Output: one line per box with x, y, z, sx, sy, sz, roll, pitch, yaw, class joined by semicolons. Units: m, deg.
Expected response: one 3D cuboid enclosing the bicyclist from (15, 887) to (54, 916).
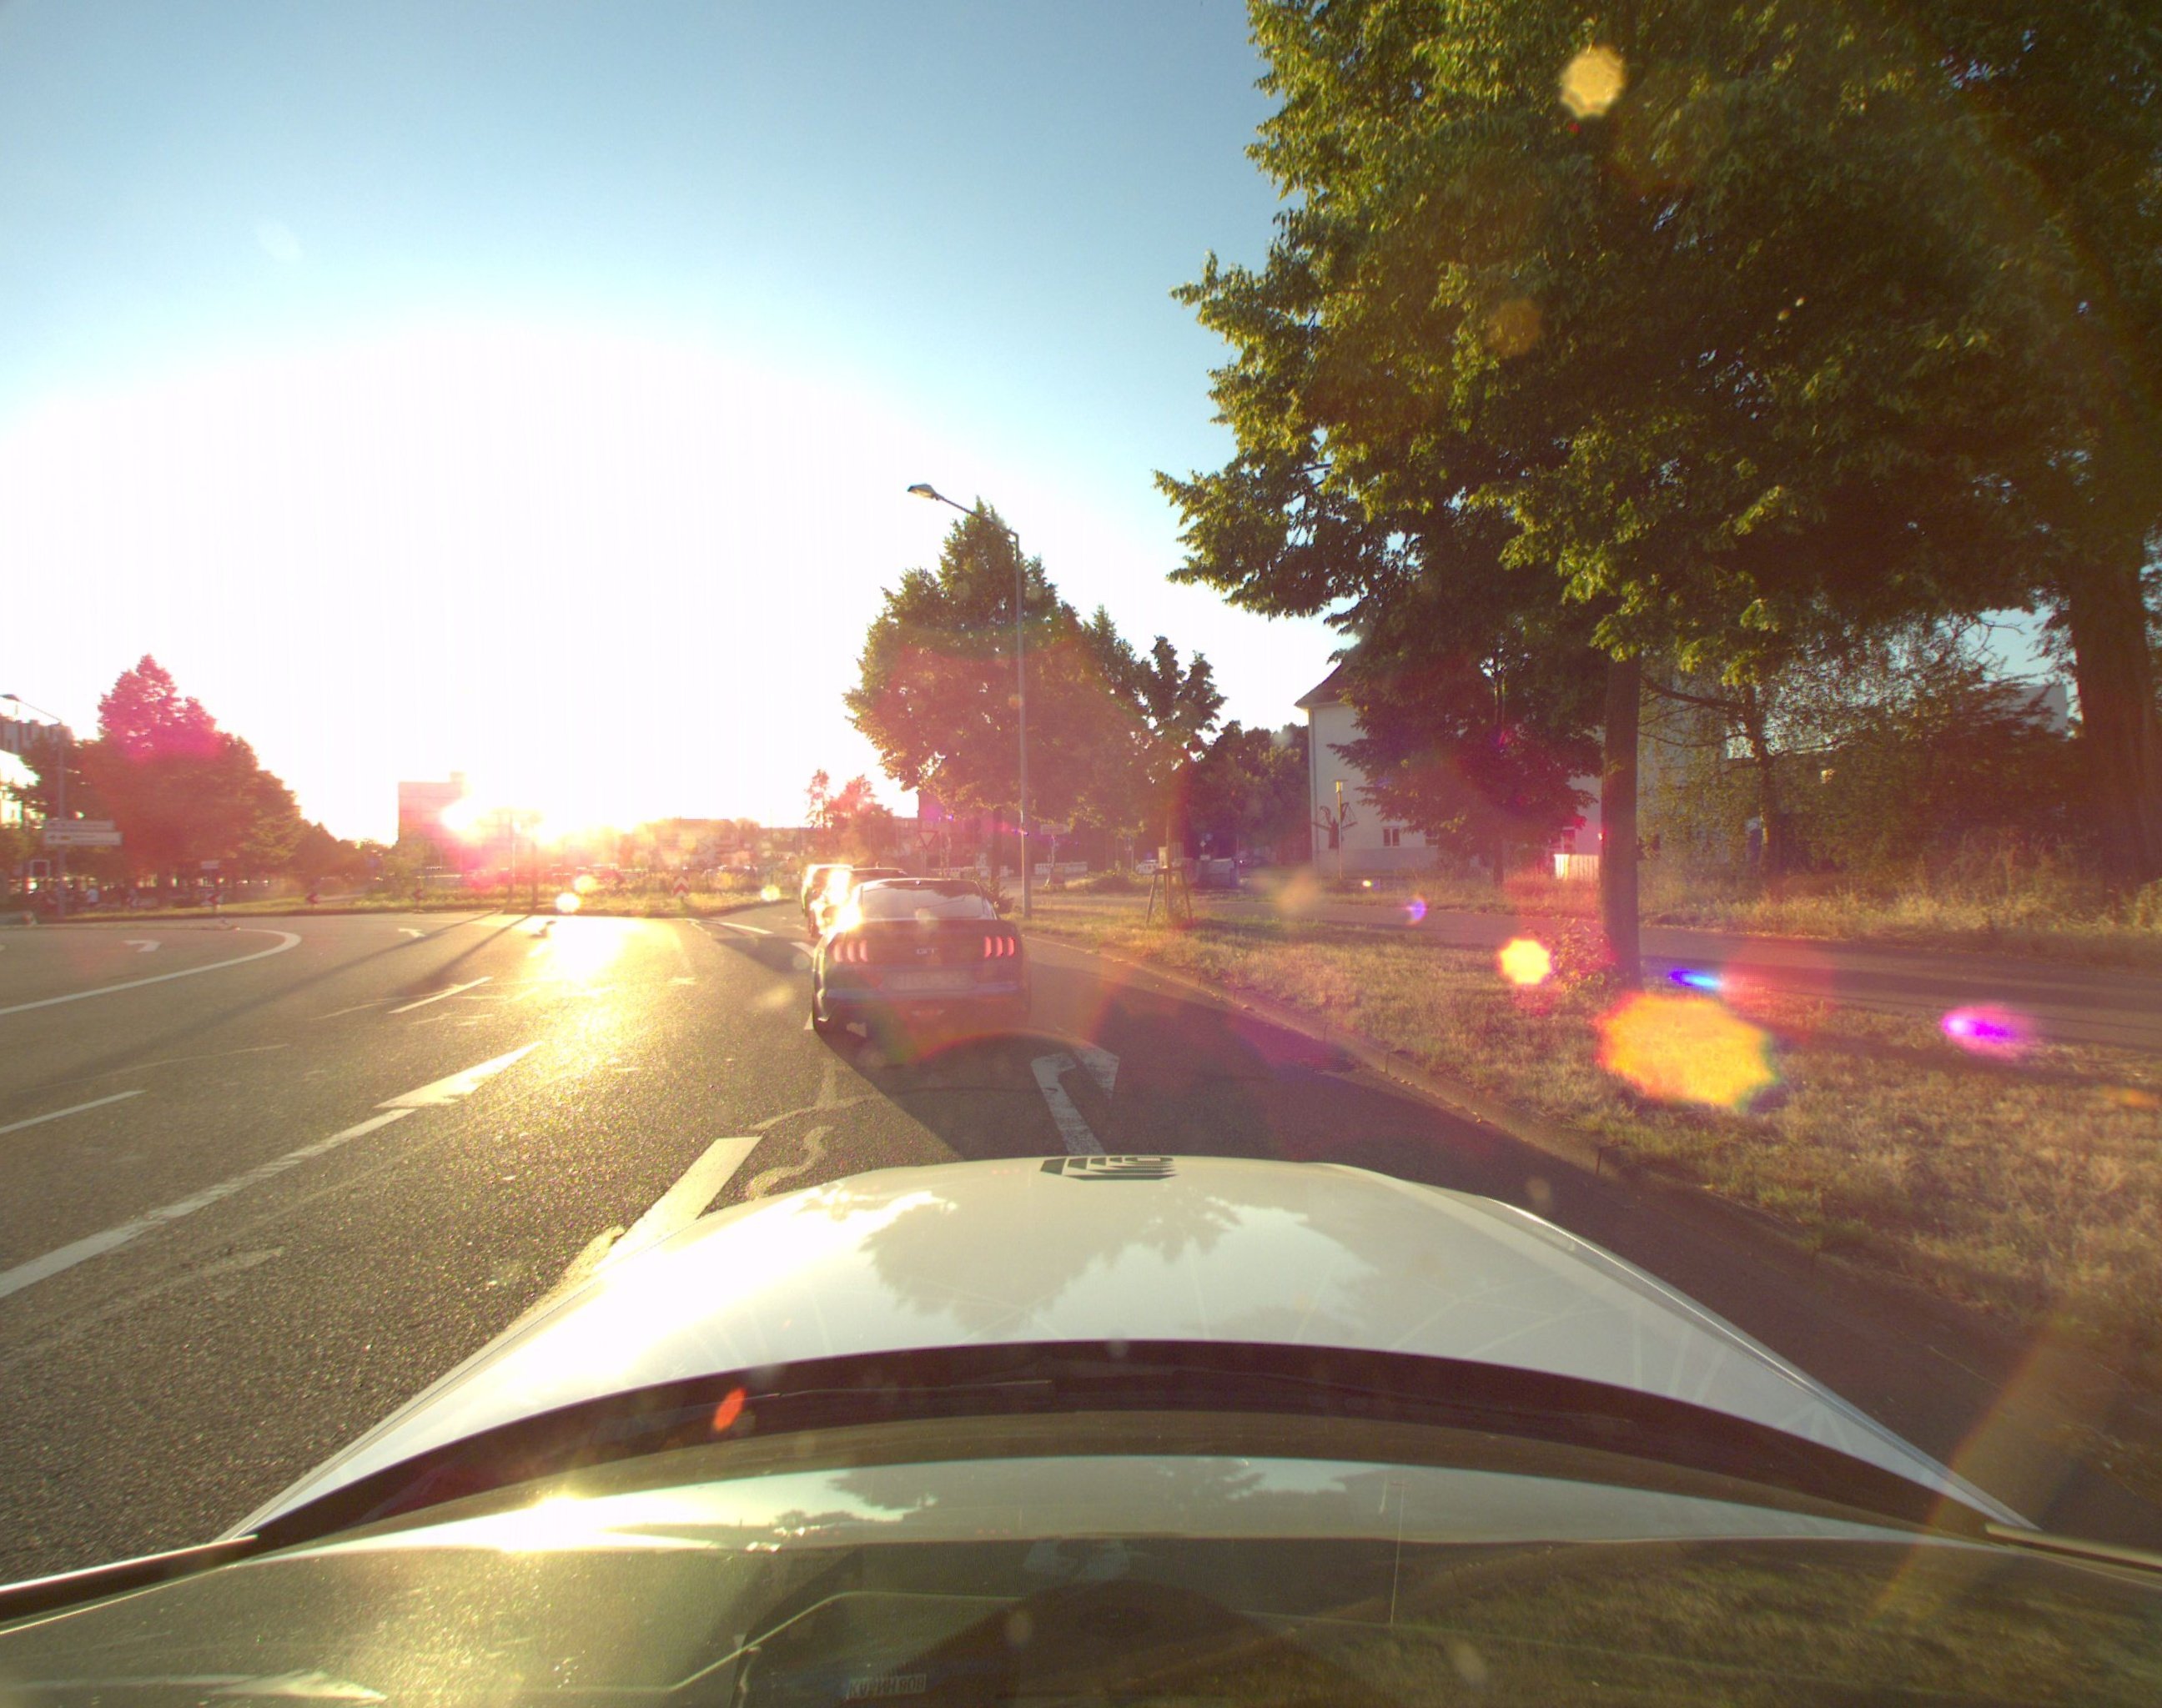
-52.923;2.375;41.196;0.979;1.394;0.749;-1;-1;-23;bicyclist

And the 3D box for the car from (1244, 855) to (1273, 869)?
19.982;0.890;91.785;1.932;1.602;4.103;-1;-1;31;car

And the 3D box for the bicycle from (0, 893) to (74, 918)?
-52.937;2.590;41.205;2.412;1.167;0.749;-1;-1;-24;bicycle

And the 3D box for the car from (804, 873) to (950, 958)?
-4.158;1.080;16.040;1.961;1.427;4.392;1;-2;-25;car

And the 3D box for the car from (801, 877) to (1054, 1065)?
-1.755;0.956;8.677;1.954;1.342;4.646;-1;-1;-15;car

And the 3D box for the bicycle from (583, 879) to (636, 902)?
-26.317;2.009;45.512;2.406;1.167;0.751;-1;-1;-15;bicycle

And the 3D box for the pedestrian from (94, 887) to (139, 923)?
-50.331;2.652;42.495;1.161;1.827;0.973;-1;-1;-18;pedestrian

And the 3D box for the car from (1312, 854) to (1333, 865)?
34.540;0.769;116.589;1.857;1.401;3.941;-2;-1;32;car

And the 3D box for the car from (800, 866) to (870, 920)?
-8.101;1.266;26.643;1.957;1.602;4.050;2;-2;-20;car

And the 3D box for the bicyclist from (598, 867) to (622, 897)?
-26.310;1.575;45.505;0.976;1.612;0.751;-1;-1;-15;bicyclist

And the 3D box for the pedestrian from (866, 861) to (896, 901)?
-8.568;1.159;34.933;0.876;1.686;0.851;-2;-1;29;pedestrian

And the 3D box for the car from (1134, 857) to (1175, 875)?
6.264;0.979;69.194;1.857;1.401;3.941;-2;-1;33;car

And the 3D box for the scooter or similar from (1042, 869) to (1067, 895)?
-1.306;1.379;40.242;1.124;1.238;0.439;-1;-1;-21;scooter or similar
